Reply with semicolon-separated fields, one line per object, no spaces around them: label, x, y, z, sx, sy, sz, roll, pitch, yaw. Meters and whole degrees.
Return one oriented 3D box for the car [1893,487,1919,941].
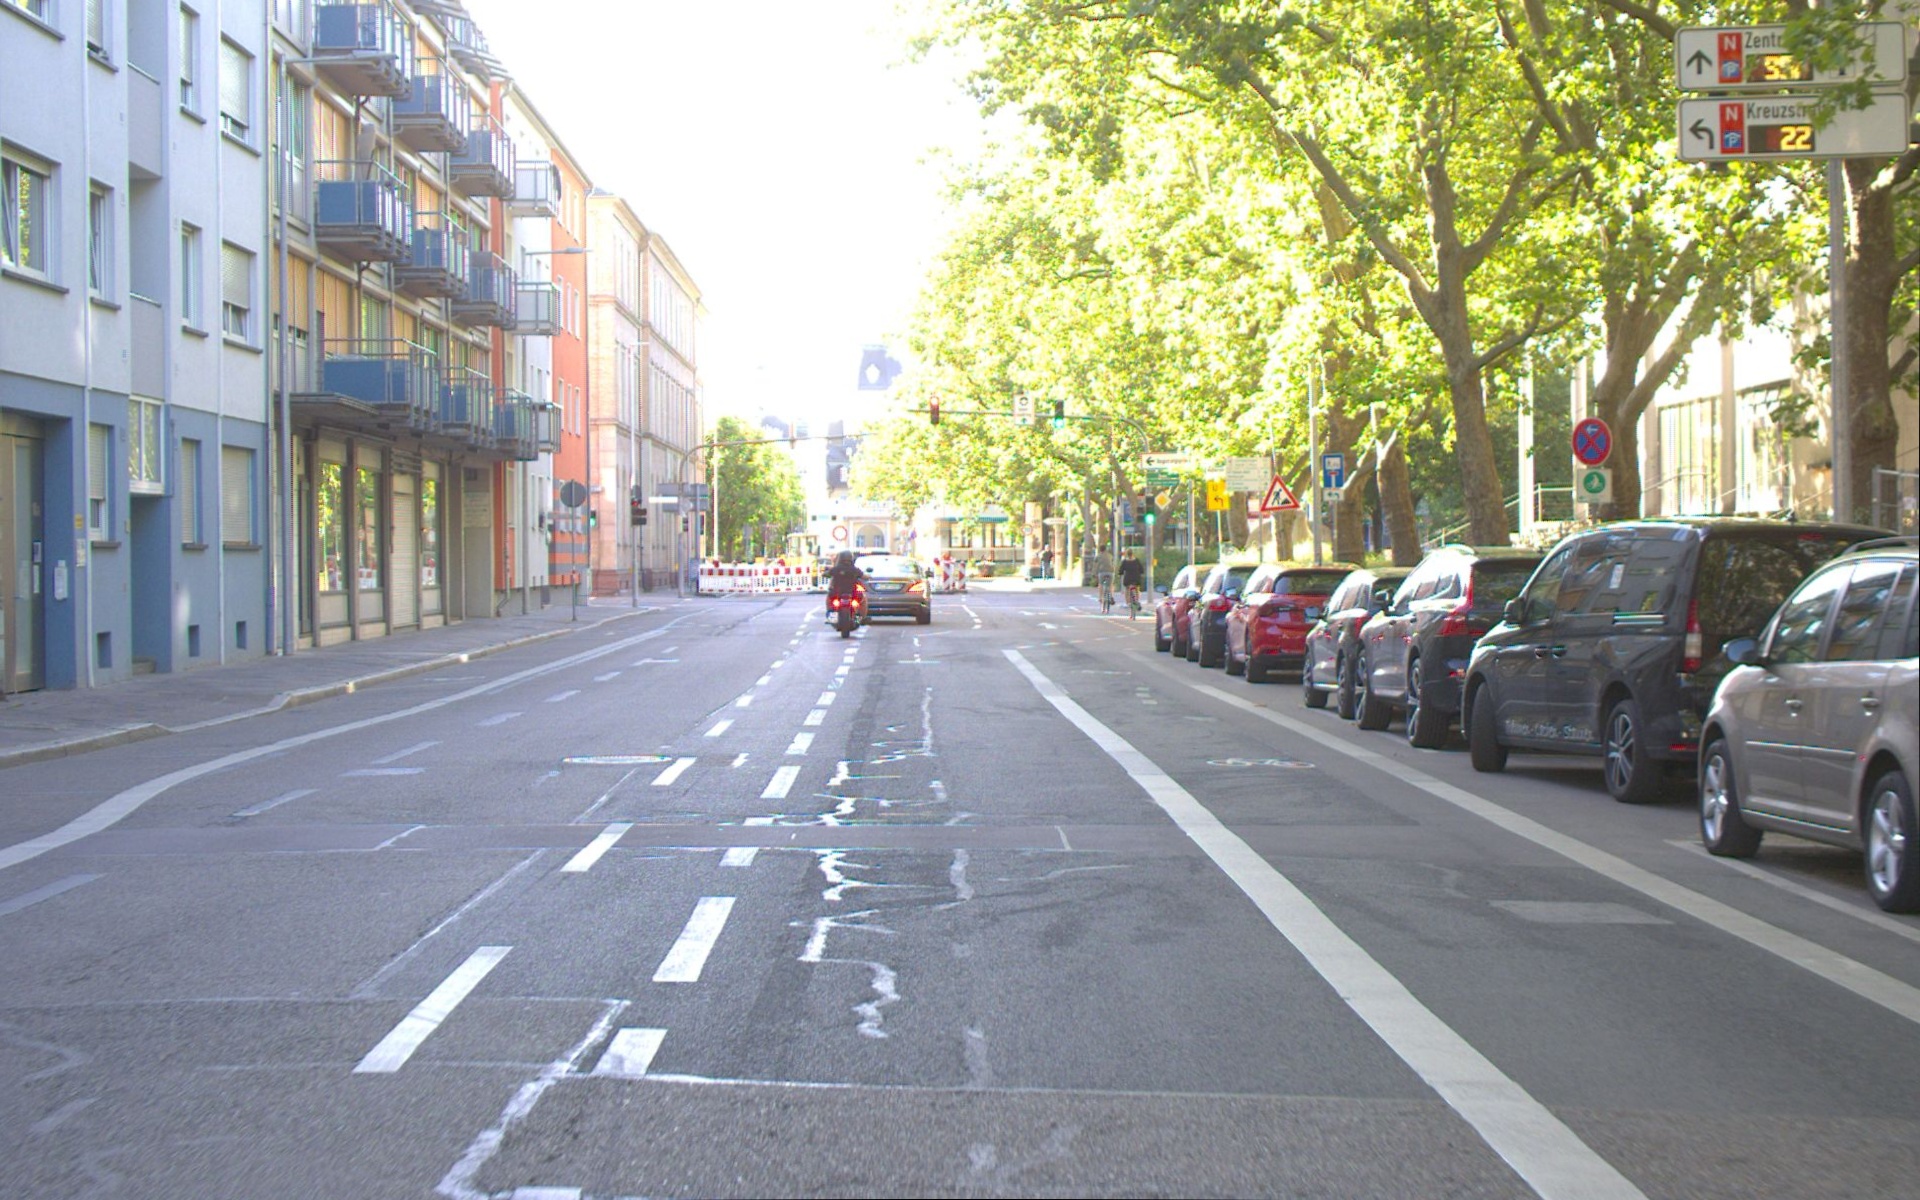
car;4.672;0.501;11.962;1.693;1.806;4.130;2;1;0

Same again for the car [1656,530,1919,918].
car;4.763;0.506;16.529;1.692;1.622;4.331;2;1;-3

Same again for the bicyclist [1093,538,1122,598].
bicyclist;3.779;-0.826;88.147;0.656;1.525;0.906;1;0;-2

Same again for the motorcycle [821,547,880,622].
motorcycle;-1.971;-0.294;62.023;1.012;1.302;2.673;-1;1;-2

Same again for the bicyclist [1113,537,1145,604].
bicyclist;3.898;-0.686;79.476;0.656;1.525;0.852;1;0;-2

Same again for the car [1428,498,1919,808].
car;4.791;0.284;23.210;1.824;1.835;4.901;2;1;-9

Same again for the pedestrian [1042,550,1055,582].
pedestrian;4.320;-1.681;168.560;0.592;1.573;0.527;1;0;-1

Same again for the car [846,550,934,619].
car;-1.499;-0.348;73.084;1.828;1.415;3.815;0;1;-2

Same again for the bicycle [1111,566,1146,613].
bicycle;3.892;-0.241;79.491;0.656;1.066;1.927;1;0;-2

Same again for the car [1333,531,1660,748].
car;4.375;0.267;28.712;1.775;1.622;4.621;2;1;-2

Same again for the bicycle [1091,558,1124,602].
bicycle;3.776;-0.525;88.167;0.656;1.107;2.186;1;0;-2

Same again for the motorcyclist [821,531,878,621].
motorcyclist;-1.988;-0.444;61.943;1.012;1.596;1.406;-1;1;-2

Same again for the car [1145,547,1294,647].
car;3.983;-0.080;53.415;1.692;1.444;4.437;2;1;-3

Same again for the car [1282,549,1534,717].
car;4.327;0.277;33.751;1.692;1.498;4.021;2;1;-3

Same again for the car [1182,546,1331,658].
car;4.143;-0.003;48.547;1.693;1.461;4.065;2;1;0

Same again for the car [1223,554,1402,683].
car;4.352;0.189;43.034;1.693;1.474;4.319;2;1;-1
